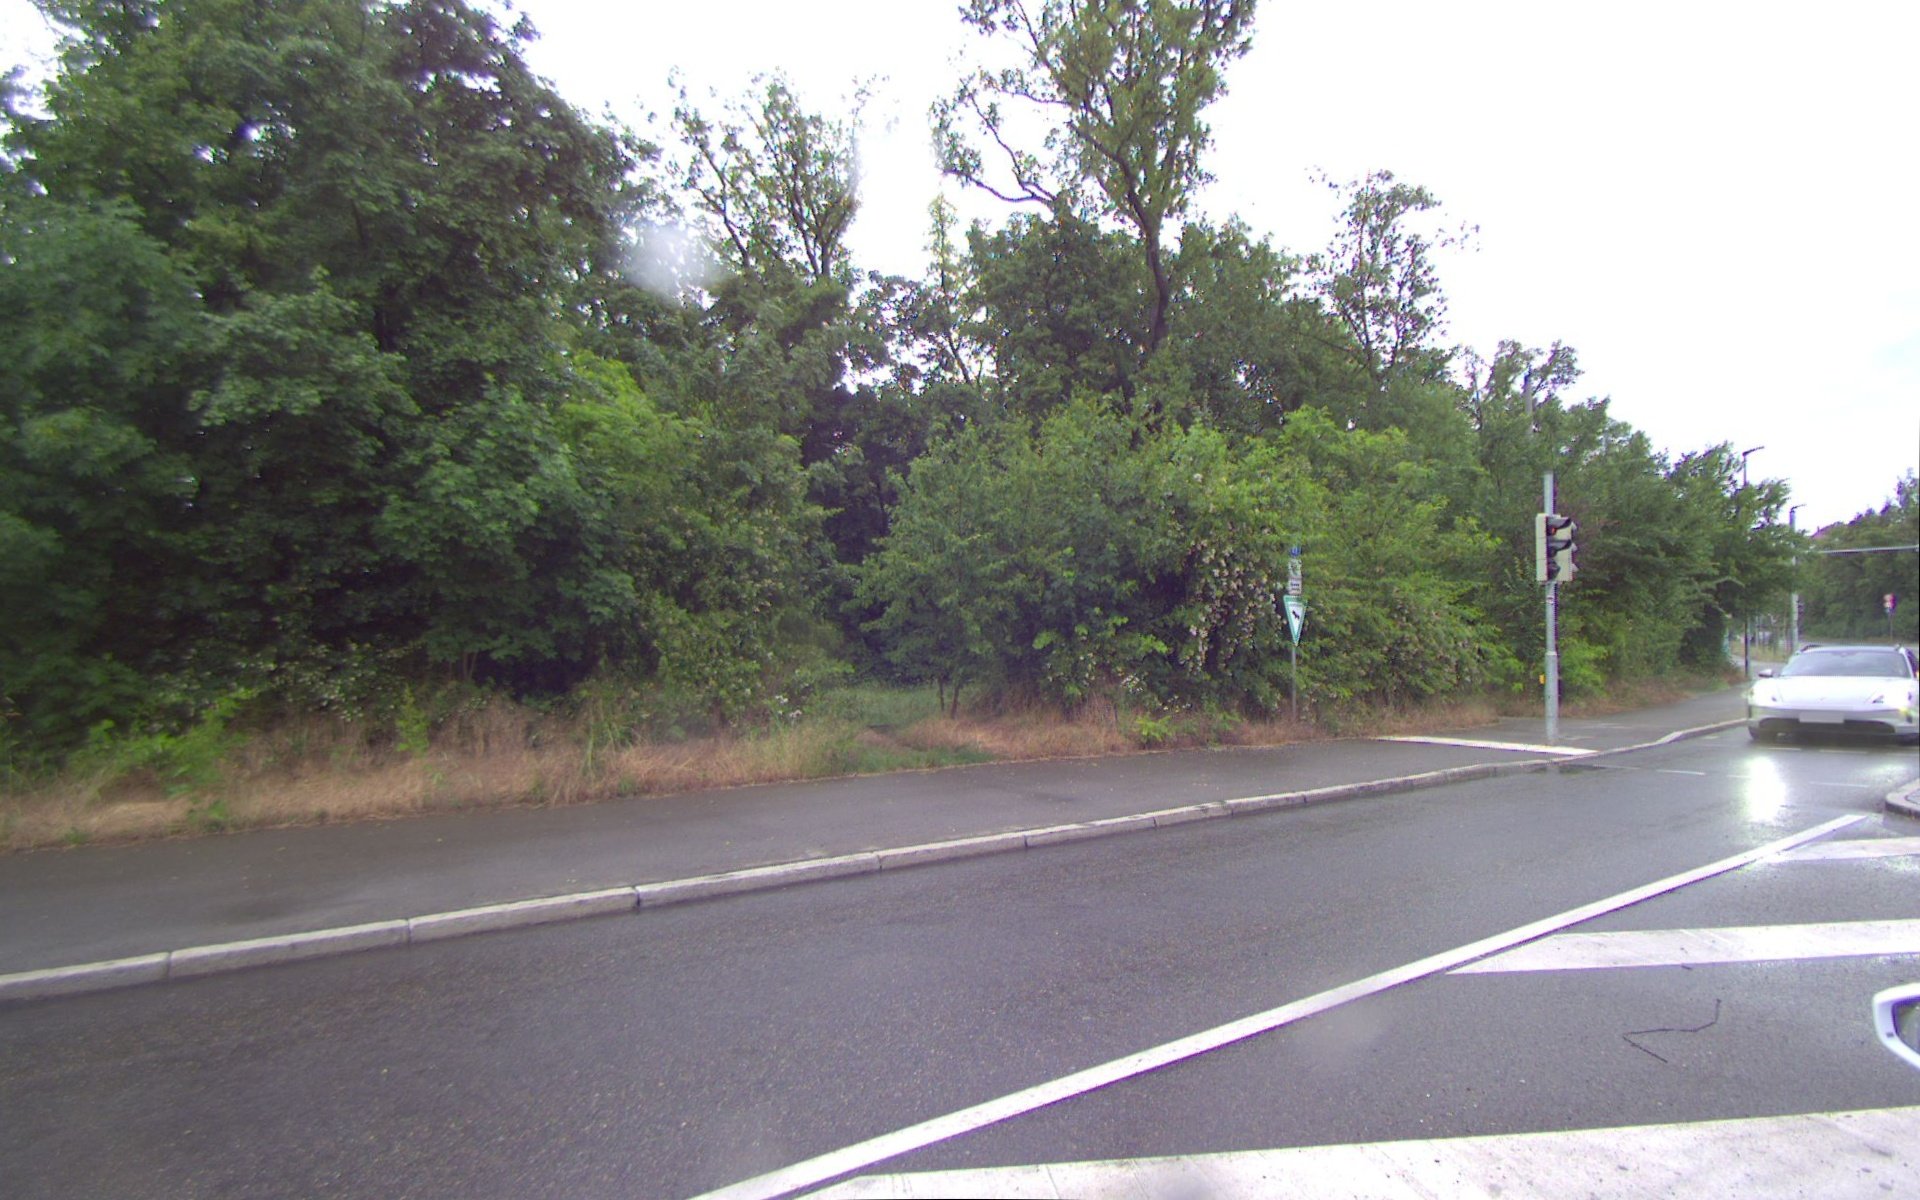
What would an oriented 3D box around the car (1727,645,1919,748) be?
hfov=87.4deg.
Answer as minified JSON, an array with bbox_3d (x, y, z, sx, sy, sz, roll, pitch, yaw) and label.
[{"bbox_3d":[13.652,1.396,15.504,4.324,1.328,1.977,1,-4,-40],"label":"car"}]

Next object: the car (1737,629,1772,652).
[{"bbox_3d":[72.197,3.661,91.312,1.965,2.040,3.991,1,-1,31],"label":"car"}]
